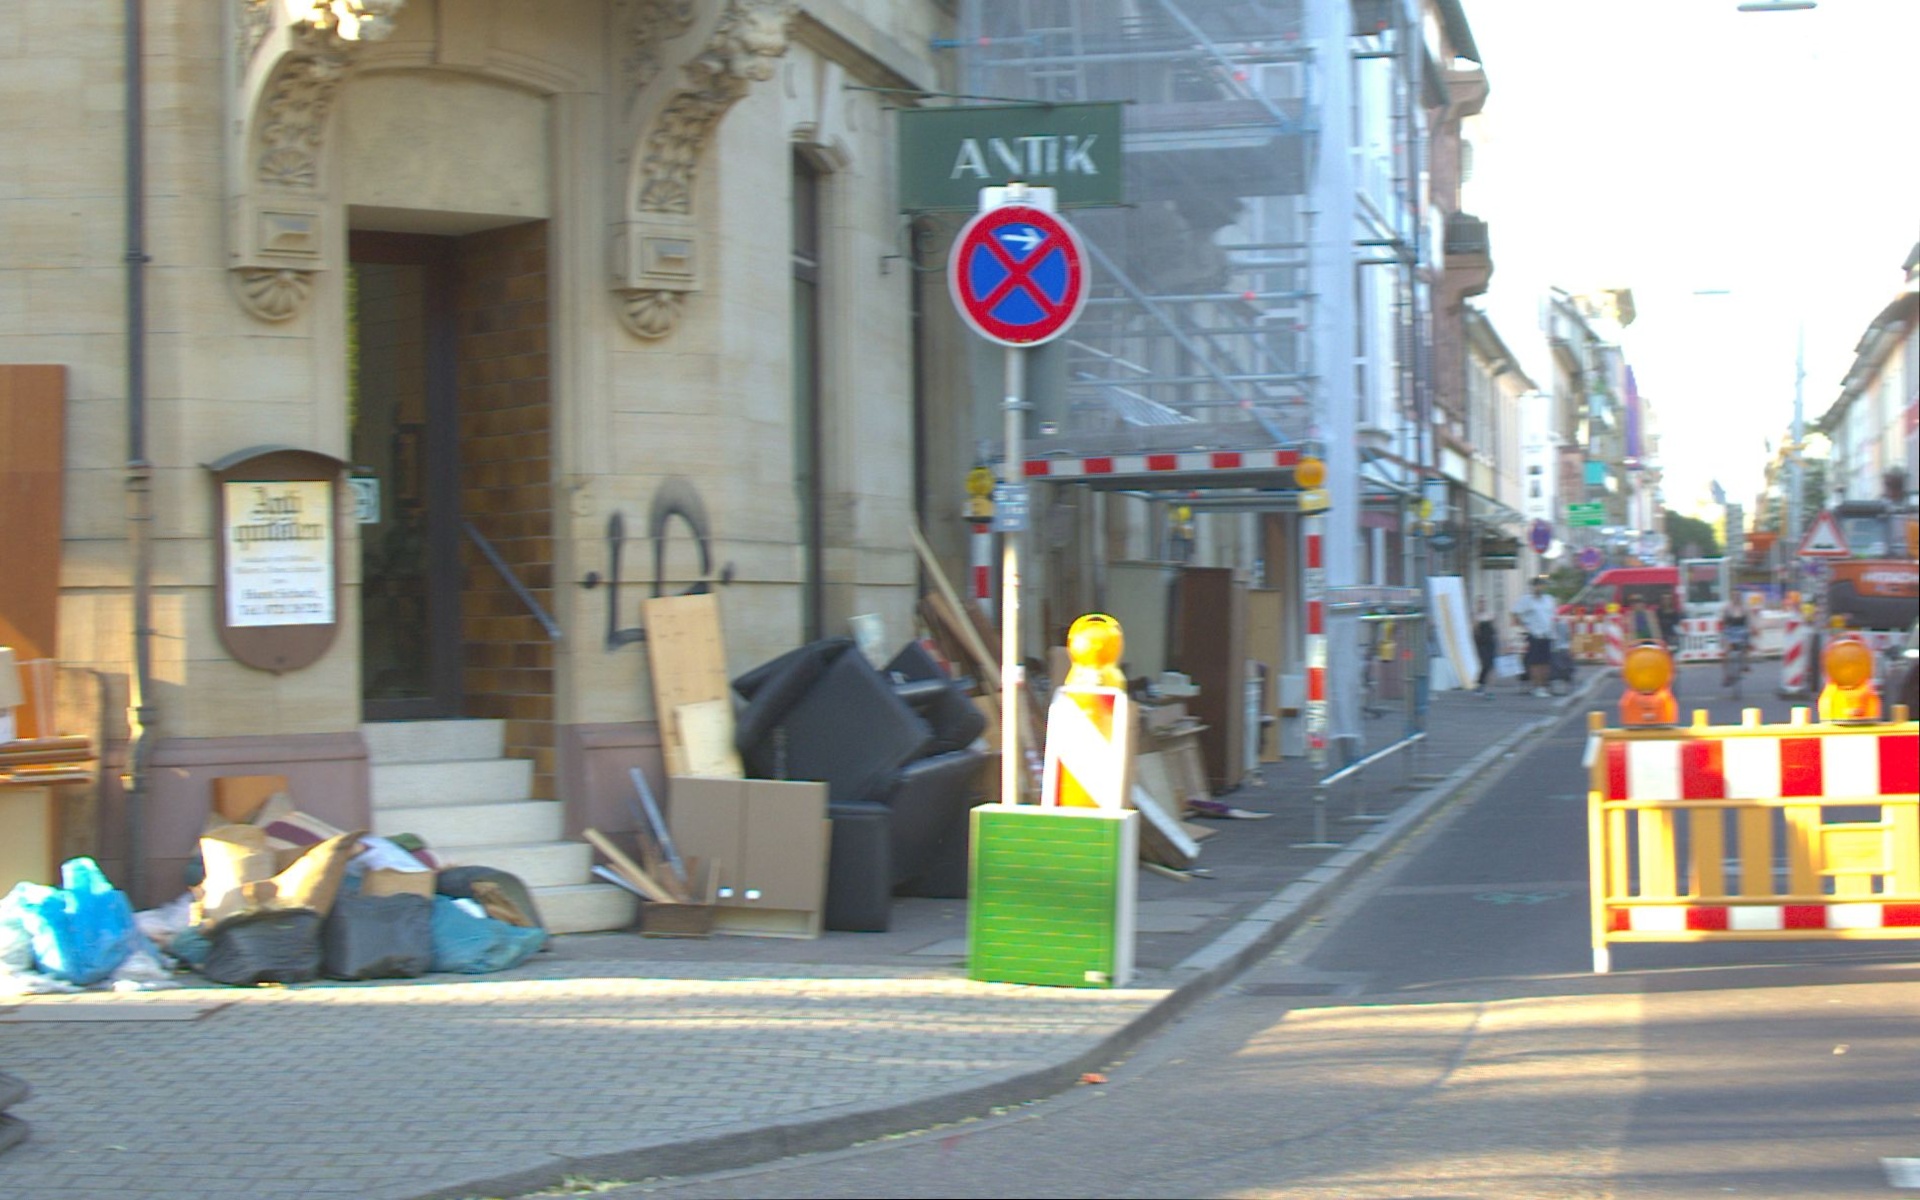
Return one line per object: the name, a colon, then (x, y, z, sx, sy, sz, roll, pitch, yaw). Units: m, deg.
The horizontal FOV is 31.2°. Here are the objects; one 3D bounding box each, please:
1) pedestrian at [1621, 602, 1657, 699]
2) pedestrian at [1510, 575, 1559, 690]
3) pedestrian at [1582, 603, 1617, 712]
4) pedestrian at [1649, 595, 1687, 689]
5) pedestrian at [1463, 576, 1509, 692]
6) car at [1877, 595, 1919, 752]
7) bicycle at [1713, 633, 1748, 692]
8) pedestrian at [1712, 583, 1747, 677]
pedestrian: (10.294, 0.761, 52.084, 0.505, 1.456, 0.512, -1, 0, 13)
pedestrian: (8.820, 0.500, 52.819, 0.504, 1.758, 0.512, -1, 0, -29)
pedestrian: (9.171, 0.823, 49.307, 0.343, 1.561, 0.420, -1, -1, 35)
pedestrian: (11.165, 0.659, 54.184, 0.505, 1.456, 0.512, -1, 0, 18)
pedestrian: (7.895, 0.515, 51.589, 0.676, 1.727, 0.699, 0, -1, 9)
car: (10.279, 0.703, 34.901, 1.718, 1.515, 3.219, -1, 0, 12)
bicycle: (12.111, 0.973, 54.056, 0.505, 0.881, 1.476, -1, 0, 12)
pedestrian: (12.090, 0.465, 54.003, 0.505, 1.456, 0.512, -1, 0, 14)
